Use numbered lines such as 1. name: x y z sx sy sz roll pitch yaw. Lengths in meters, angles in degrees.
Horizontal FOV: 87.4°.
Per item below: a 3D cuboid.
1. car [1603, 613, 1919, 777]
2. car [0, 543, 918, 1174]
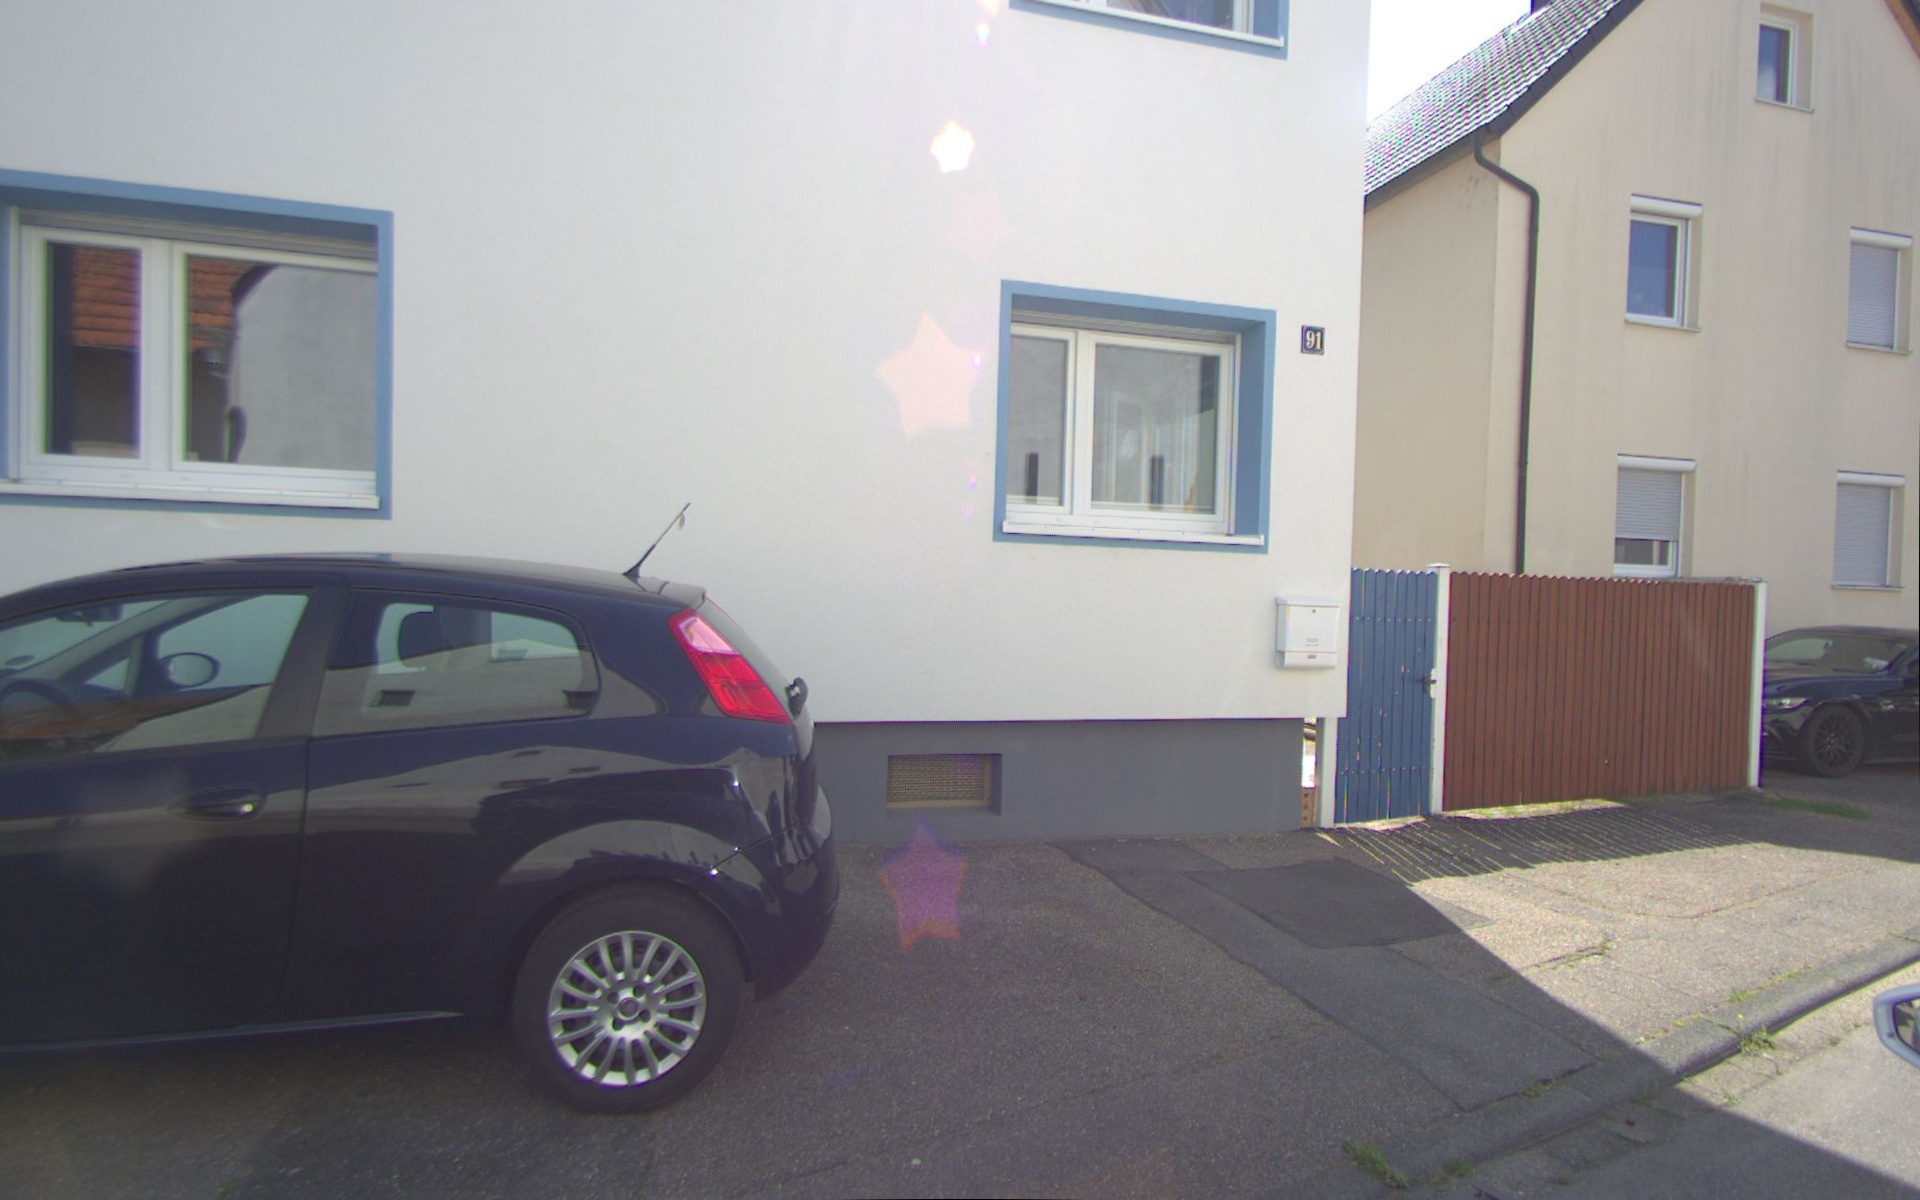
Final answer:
1. car: 9.072 0.927 10.157 4.394 1.367 1.770 2 1 -14
2. car: -2.128 0.593 3.201 3.722 1.474 1.638 1 1 -14
